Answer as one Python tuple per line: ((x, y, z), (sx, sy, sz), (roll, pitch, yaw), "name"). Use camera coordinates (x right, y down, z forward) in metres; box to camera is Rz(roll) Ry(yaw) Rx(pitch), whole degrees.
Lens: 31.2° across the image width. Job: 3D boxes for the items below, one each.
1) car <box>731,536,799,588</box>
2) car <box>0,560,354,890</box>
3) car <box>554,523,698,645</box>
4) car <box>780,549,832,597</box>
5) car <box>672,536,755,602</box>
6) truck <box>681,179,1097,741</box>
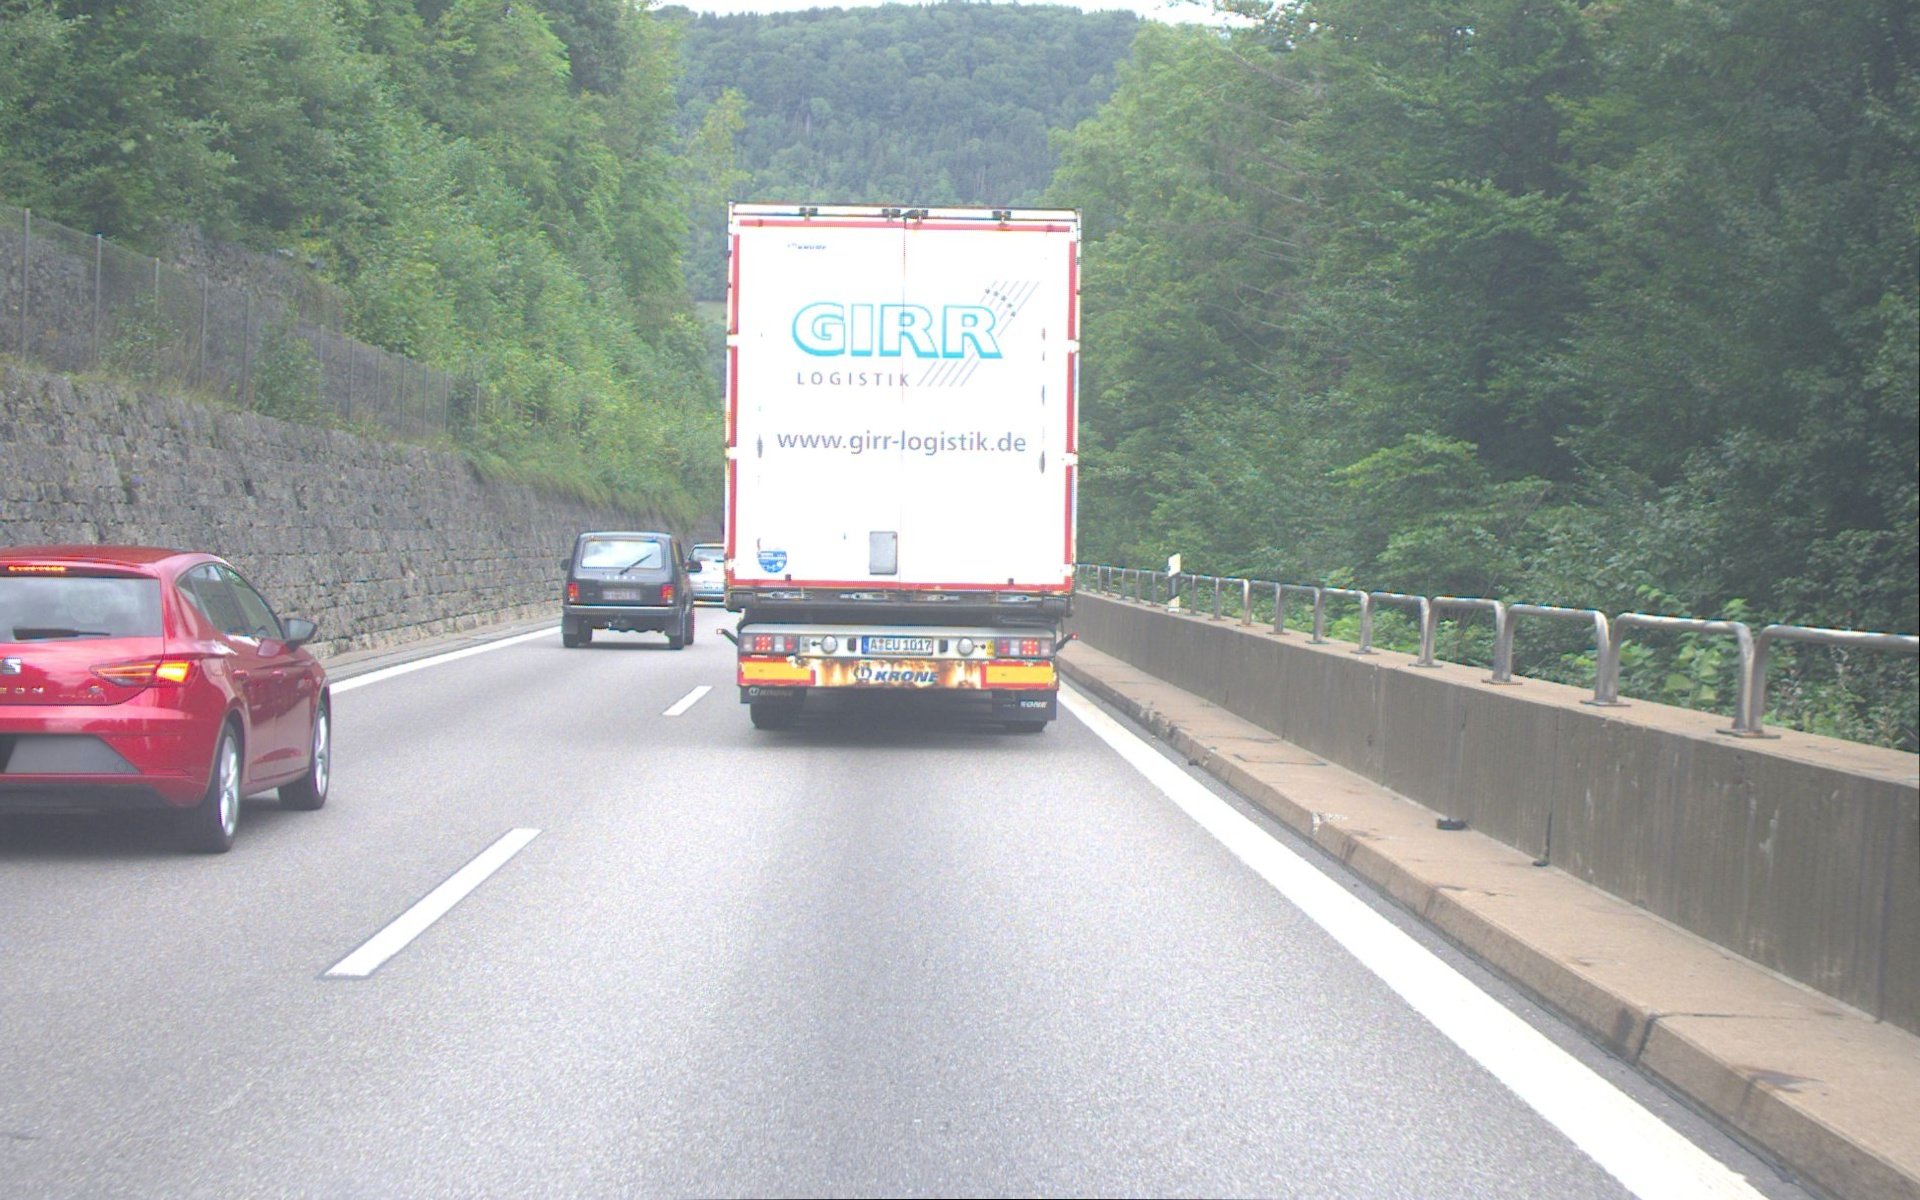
((-6.026, -1.170, 106.637), (1.917, 1.589, 4.179), (0, 0, -1), "car")
((-4.278, 0.537, 17.438), (1.766, 1.455, 4.411), (0, 0, -2), "car")
((-4.645, -0.233, 48.308), (1.669, 1.633, 4.068), (0, 0, -1), "car")
((-6.602, -1.138, 148.023), (1.993, 2.007, 4.000), (1, 0, 0), "car")
((-5.717, -0.718, 80.106), (1.729, 1.481, 4.000), (0, 0, -1), "car")
((-0.534, -1.040, 28.940), (2.908, 3.947, 9.279), (0, 1, 0), "truck")
